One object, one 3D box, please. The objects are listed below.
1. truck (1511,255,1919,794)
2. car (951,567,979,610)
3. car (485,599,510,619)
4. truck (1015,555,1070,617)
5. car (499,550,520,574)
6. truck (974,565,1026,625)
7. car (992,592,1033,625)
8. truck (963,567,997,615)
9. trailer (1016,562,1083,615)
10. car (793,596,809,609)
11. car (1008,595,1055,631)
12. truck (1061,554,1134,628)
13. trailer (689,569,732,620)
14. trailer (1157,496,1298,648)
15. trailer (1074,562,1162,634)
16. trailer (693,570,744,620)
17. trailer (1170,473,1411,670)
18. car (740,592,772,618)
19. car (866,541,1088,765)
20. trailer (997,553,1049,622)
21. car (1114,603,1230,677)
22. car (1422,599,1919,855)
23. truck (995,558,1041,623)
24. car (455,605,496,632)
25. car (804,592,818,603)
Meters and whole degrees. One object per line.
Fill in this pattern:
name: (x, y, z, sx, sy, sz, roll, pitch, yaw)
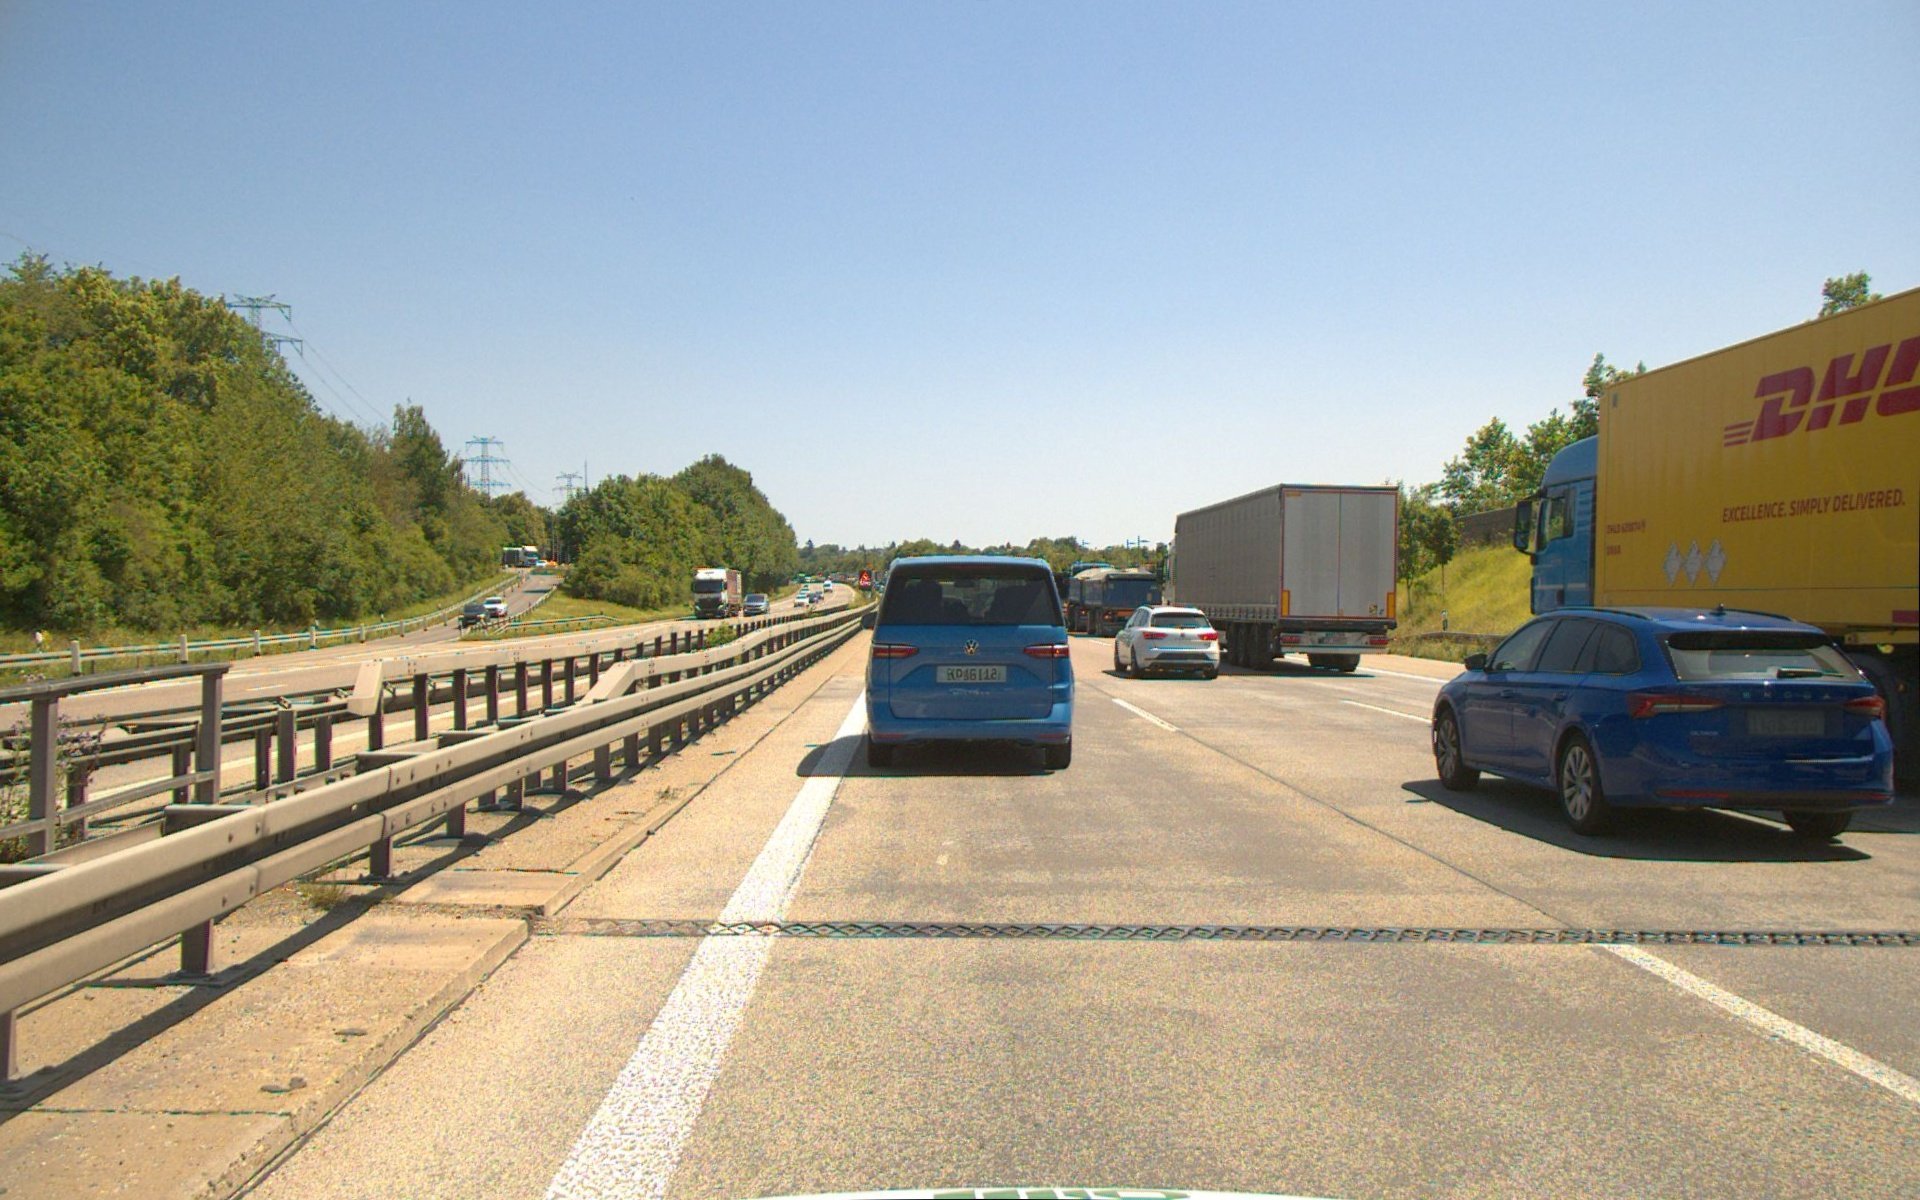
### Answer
truck: (8.696, -0.559, 16.624, 2.709, 4.181, 9.949, 1, 0, -2)
car: (0.586, -1.421, 211.337, 3.153, 5.349, 8.140, 1, -1, -2)
car: (-36.287, 0.722, 129.807, 1.656, 1.481, 4.331, 1, -1, -13)
truck: (5.793, -0.948, 117.876, 3.551, 4.166, 7.523, 1, -1, 0)
car: (-59.668, -5.055, 219.103, 2.039, 2.930, 6.691, -1, -1, -20)
truck: (3.624, -0.385, 156.252, 3.549, 5.304, 15.677, 1, -1, -3)
car: (2.604, 0.438, 83.036, 1.745, 1.551, 3.998, 1, -1, -2)
truck: (2.111, -0.905, 178.867, 3.007, 5.006, 10.684, 1, -1, -2)
trailer: (5.784, -0.648, 109.800, 3.572, 3.133, 15.770, 1, -1, 0)
car: (-19.958, 0.320, 208.180, 1.814, 1.493, 4.301, -1, -1, -3)
car: (3.092, 0.585, 72.123, 1.803, 1.480, 3.999, 1, -1, -1)
truck: (6.571, -0.458, 79.963, 2.688, 3.369, 7.130, 1, 1, -2)
trailer: (-20.578, -0.443, 136.770, 2.701, 4.045, 6.129, -2, 0, -2)
trailer: (7.641, -0.773, 48.105, 2.865, 4.114, 6.408, 0, 0, -2)
trailer: (6.800, -0.138, 72.585, 2.688, 2.886, 9.112, 1, 1, -2)
trailer: (-20.774, -0.474, 143.108, 2.708, 4.045, 14.675, -2, 0, -2)
trailer: (7.839, -0.584, 41.665, 2.902, 4.120, 13.746, 0, 0, -2)
car: (-16.316, 0.417, 132.461, 1.953, 1.975, 4.895, 1, -1, -1)
car: (0.125, 0.480, 16.095, 1.863, 1.870, 3.999, 1, -1, -1)
trailer: (4.964, -0.834, 133.556, 3.572, 5.226, 13.073, 1, -1, 0)
car: (4.308, 0.783, 34.131, 1.829, 1.385, 3.999, 1, 0, -1)
car: (4.821, 0.774, 11.865, 1.671, 1.466, 4.426, 1, -1, -1)
truck: (4.890, -0.730, 139.715, 3.584, 5.270, 5.708, 1, -1, 0)
car: (-32.769, 1.248, 112.026, 1.957, 1.603, 5.265, 1, 1, -9)
car: (-21.795, -0.333, 242.232, 1.839, 1.472, 4.142, -2, -1, -3)
